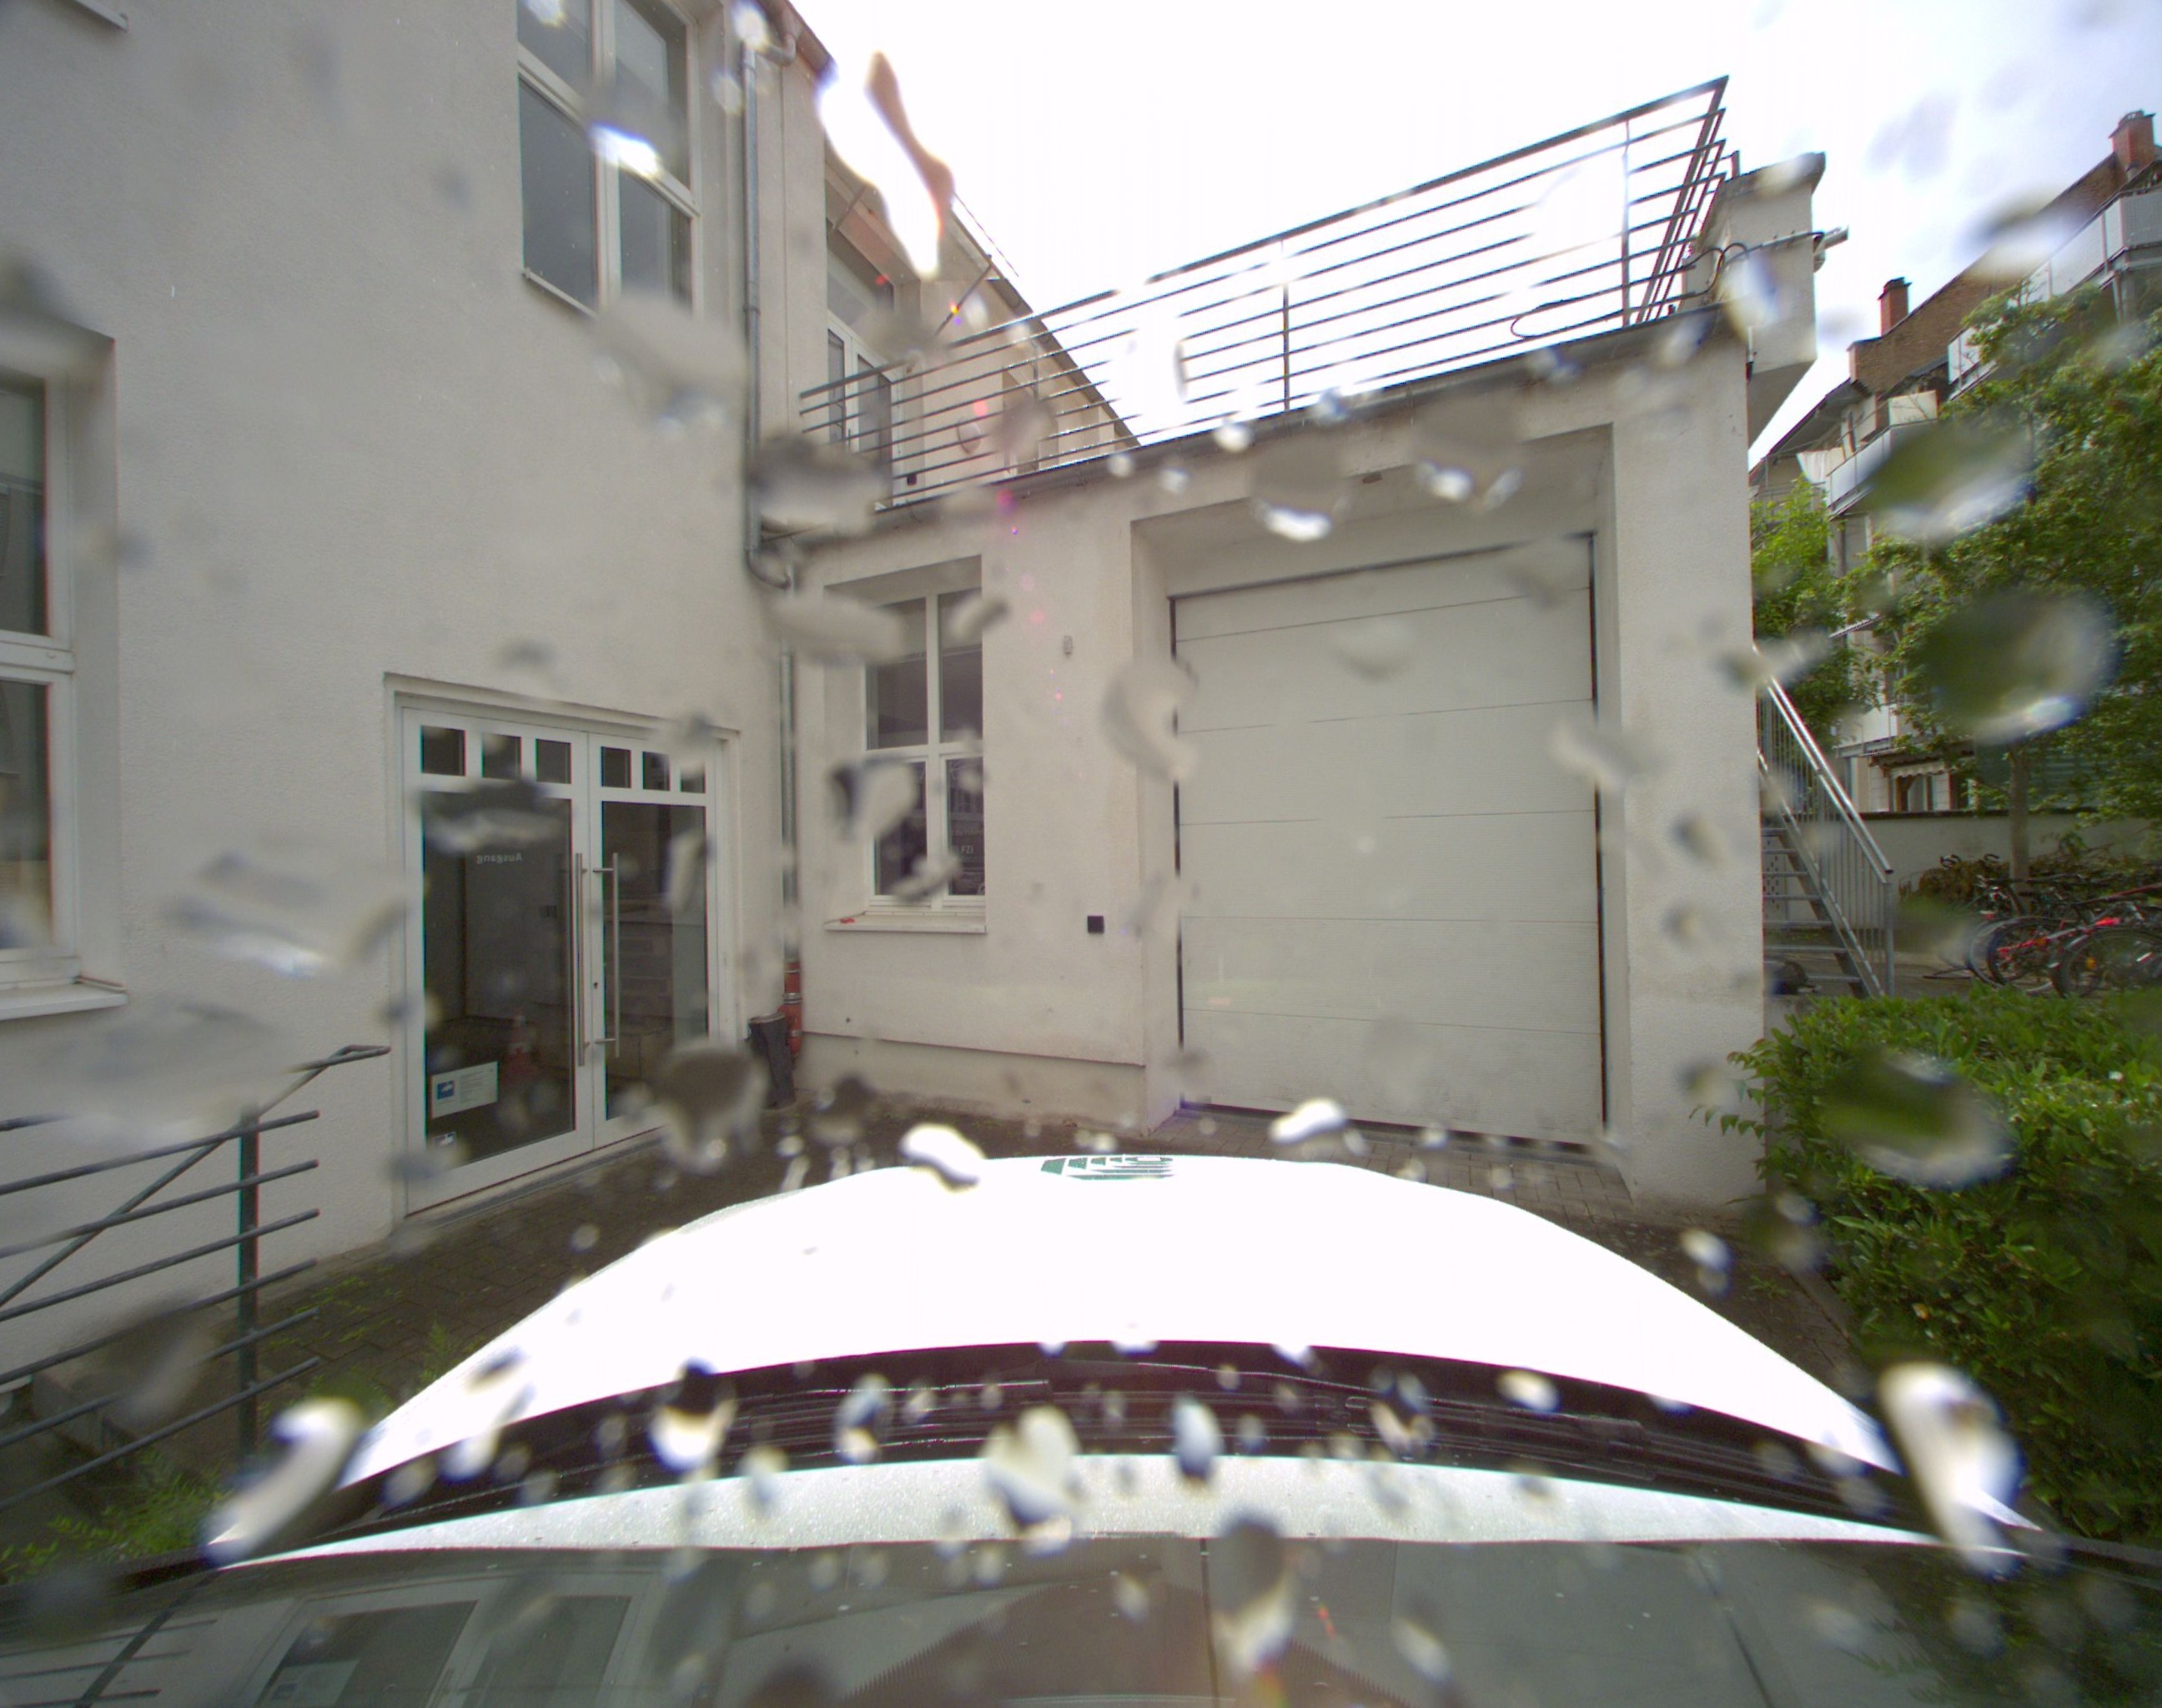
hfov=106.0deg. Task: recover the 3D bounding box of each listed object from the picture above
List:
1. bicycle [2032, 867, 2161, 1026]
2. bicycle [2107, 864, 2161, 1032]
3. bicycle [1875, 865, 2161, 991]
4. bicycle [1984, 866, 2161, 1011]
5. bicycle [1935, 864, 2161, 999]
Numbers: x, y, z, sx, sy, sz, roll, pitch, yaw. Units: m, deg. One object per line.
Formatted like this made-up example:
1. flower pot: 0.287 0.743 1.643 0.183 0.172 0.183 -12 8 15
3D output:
1. bicycle: 8.703 0.653 5.595 2.818 1.078 0.693 0 1 22
2. bicycle: 8.425 0.616 4.861 2.898 1.078 0.693 0 1 22
3. bicycle: 9.438 0.666 7.625 2.818 1.078 0.693 0 1 22
4. bicycle: 9.040 0.651 6.244 2.818 1.078 0.693 0 1 22
5. bicycle: 9.311 0.644 6.910 2.818 1.078 0.693 0 1 22
